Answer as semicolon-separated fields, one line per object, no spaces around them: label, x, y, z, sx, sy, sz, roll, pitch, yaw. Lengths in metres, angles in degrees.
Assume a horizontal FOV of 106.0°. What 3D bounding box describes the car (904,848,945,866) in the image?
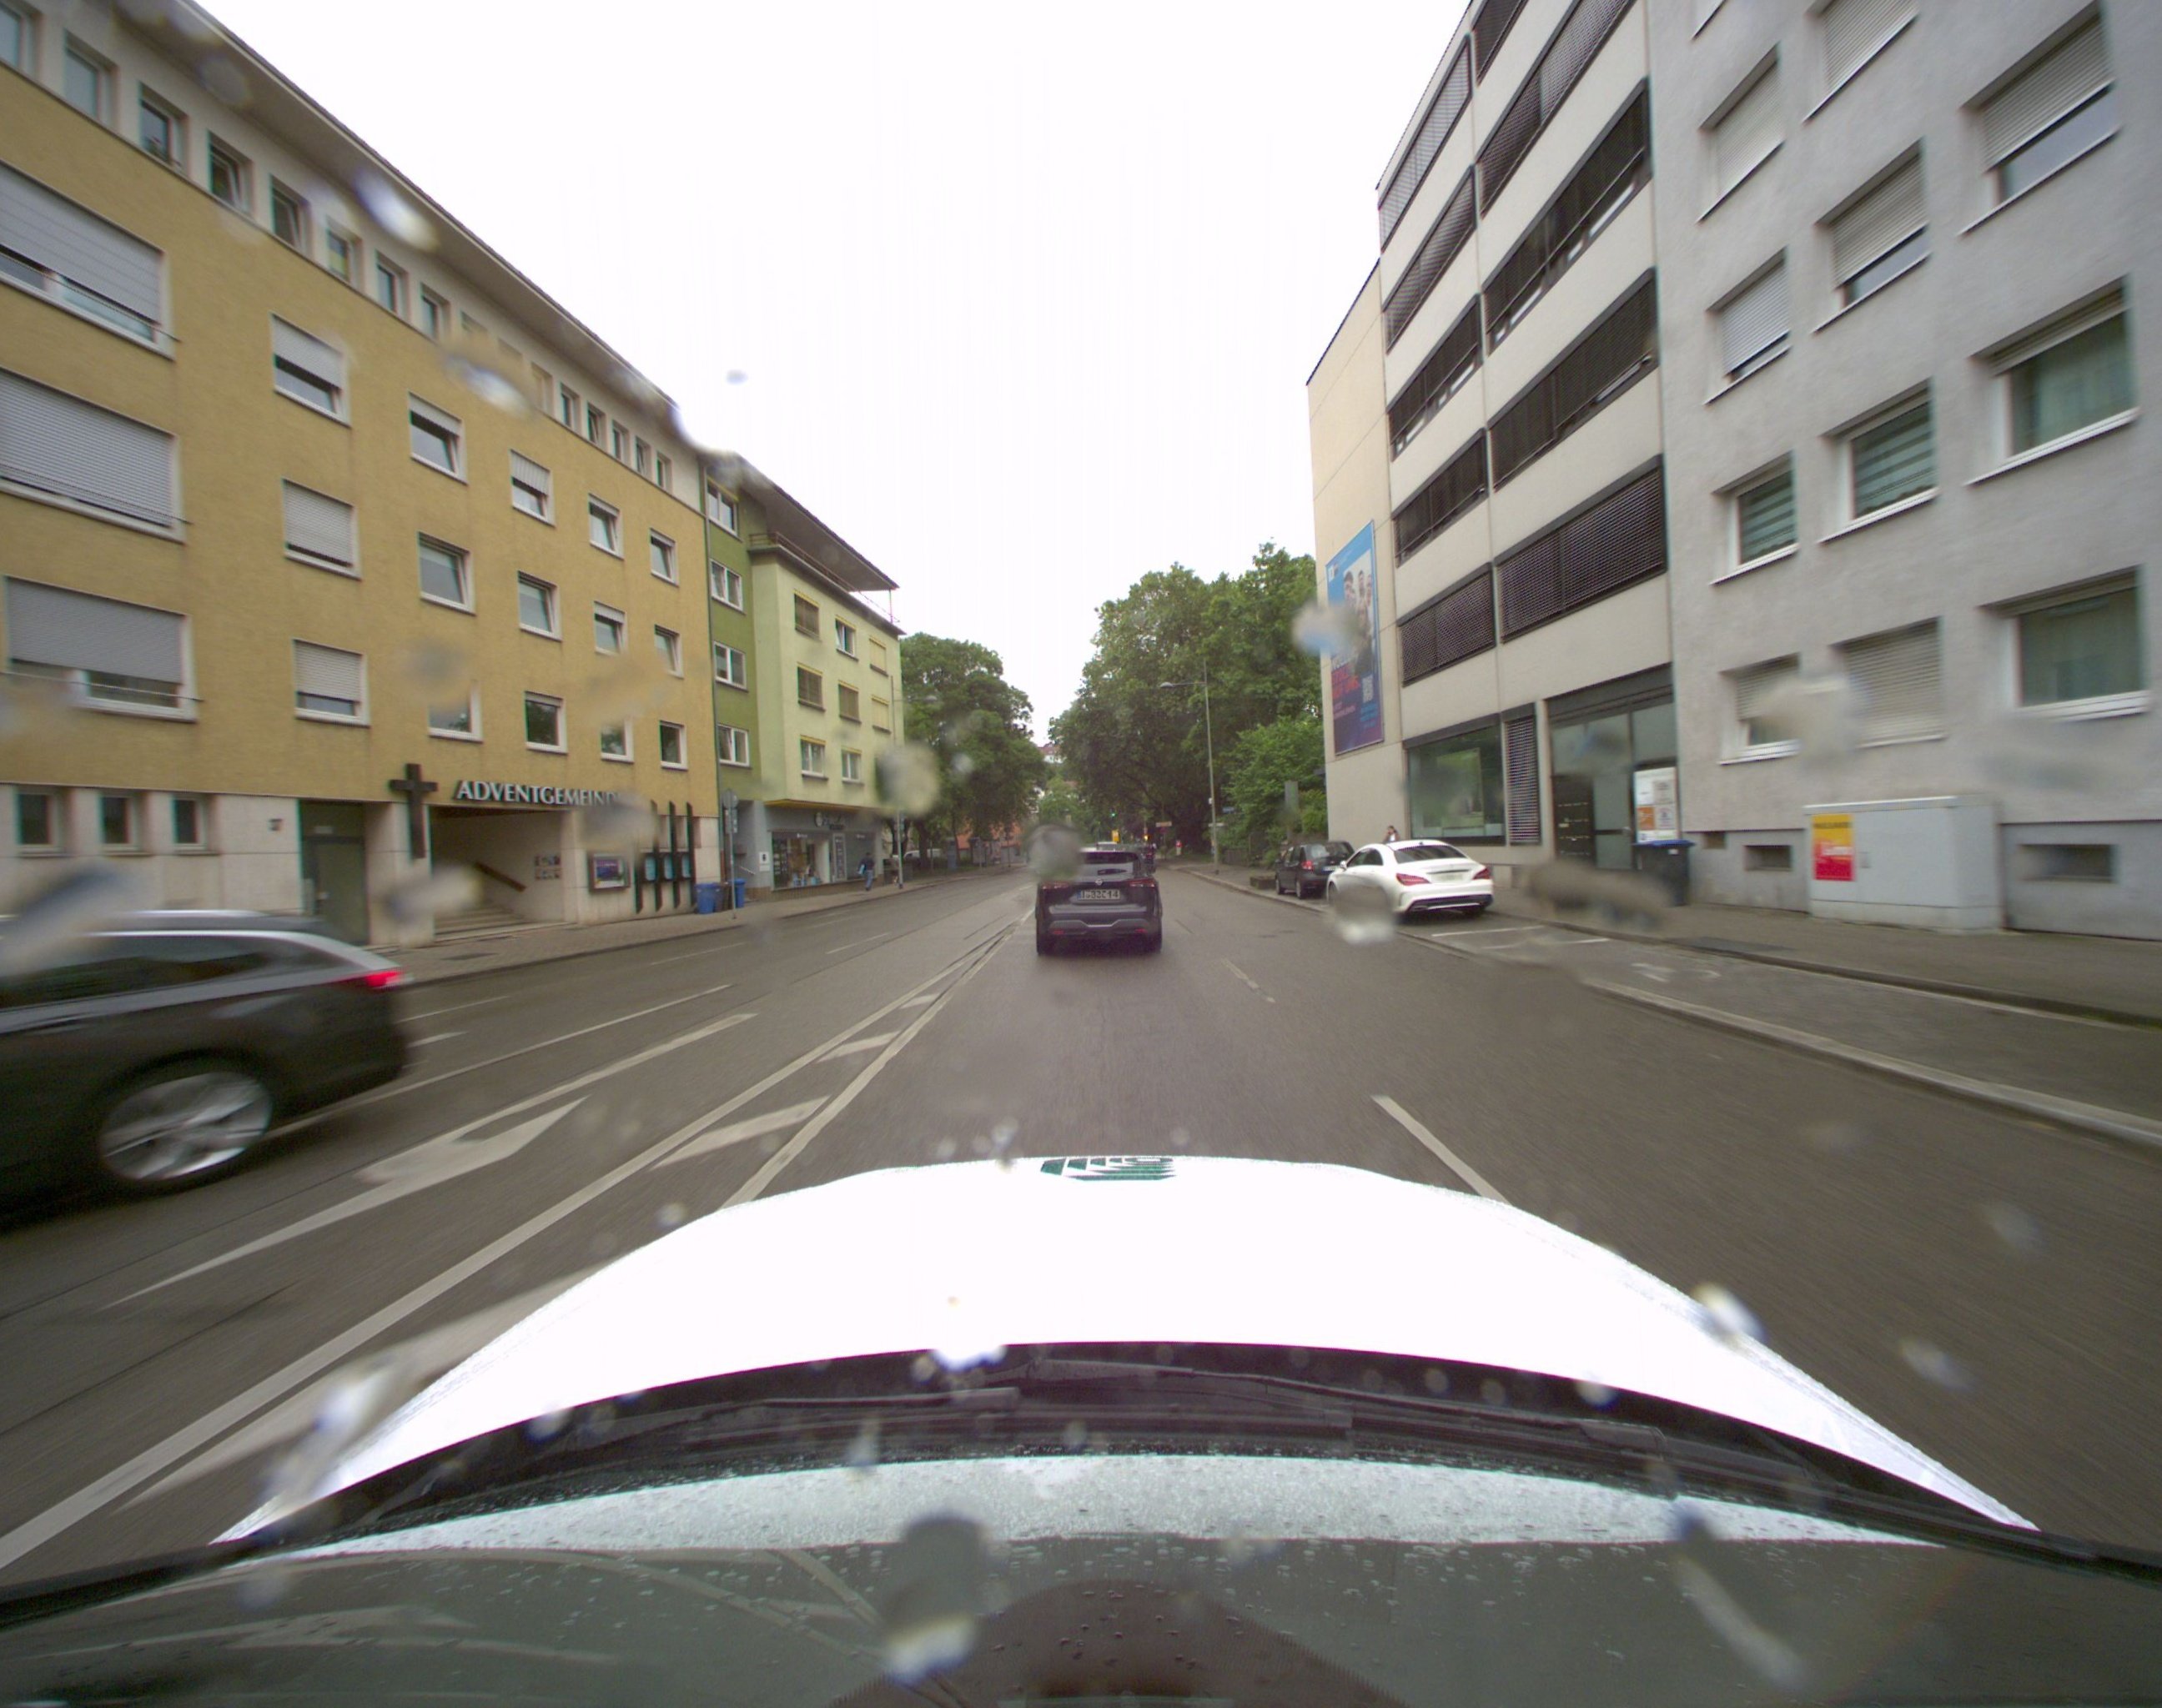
car;-15.977;0.266;83.278;3.822;1.734;1.879;-1;0;-1

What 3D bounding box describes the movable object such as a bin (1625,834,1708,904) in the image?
movable object such as a bin;9.521;0.232;13.266;0.711;1.068;0.783;-3;0;-5

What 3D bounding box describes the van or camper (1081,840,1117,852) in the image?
van or camper;5.481;-2.435;248.678;10.895;3.557;3.184;-1;0;-1

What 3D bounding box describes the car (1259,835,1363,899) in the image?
car;6.148;0.313;22.226;1.708;1.442;4.084;-5;0;2

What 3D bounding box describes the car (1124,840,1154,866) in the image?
car;4.459;-0.050;62.944;1.940;1.816;3.999;-5;-1;0

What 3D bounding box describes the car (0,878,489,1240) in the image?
car;-5.667;1.028;3.667;1.804;1.433;4.426;-4;1;26

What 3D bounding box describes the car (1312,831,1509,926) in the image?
car;6.050;0.393;15.633;1.769;1.401;4.577;-5;0;-1

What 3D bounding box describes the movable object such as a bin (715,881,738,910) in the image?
movable object such as a bin;-11.656;1.375;26.785;0.451;0.900;0.503;-3;0;8

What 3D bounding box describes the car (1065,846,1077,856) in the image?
car;-1.742;-0.541;145.825;1.814;1.796;3.868;-1;1;3

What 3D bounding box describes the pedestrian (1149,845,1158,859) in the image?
pedestrian;9.014;-0.249;101.288;0.672;1.791;0.713;-2;0;-41

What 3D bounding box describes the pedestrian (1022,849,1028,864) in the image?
pedestrian;-6.776;0.280;98.598;0.665;1.791;0.720;-1;0;-6

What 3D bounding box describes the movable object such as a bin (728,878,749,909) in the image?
movable object such as a bin;-11.700;1.357;27.848;0.397;1.006;0.546;-3;0;8

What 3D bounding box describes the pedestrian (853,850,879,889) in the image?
pedestrian;-9.905;0.693;37.595;0.861;1.788;0.877;0;0;7

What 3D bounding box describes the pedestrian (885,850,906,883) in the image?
pedestrian;-9.615;0.642;42.183;0.795;1.688;0.817;-3;0;0

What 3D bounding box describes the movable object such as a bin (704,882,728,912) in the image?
movable object such as a bin;-11.756;1.386;26.229;0.451;0.900;0.503;-3;0;8

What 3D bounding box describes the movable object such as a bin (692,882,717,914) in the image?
movable object such as a bin;-11.841;1.383;25.624;0.451;0.929;0.503;-3;0;8

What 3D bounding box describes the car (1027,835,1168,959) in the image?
car;0.190;0.558;13.082;1.889;1.629;3.998;-1;1;-1

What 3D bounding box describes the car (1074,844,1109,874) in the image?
car;0.725;0.311;52.219;1.938;1.684;4.002;-5;-1;2

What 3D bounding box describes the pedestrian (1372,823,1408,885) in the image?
pedestrian;8.998;0.007;23.731;0.611;1.737;0.680;-5;0;-6
